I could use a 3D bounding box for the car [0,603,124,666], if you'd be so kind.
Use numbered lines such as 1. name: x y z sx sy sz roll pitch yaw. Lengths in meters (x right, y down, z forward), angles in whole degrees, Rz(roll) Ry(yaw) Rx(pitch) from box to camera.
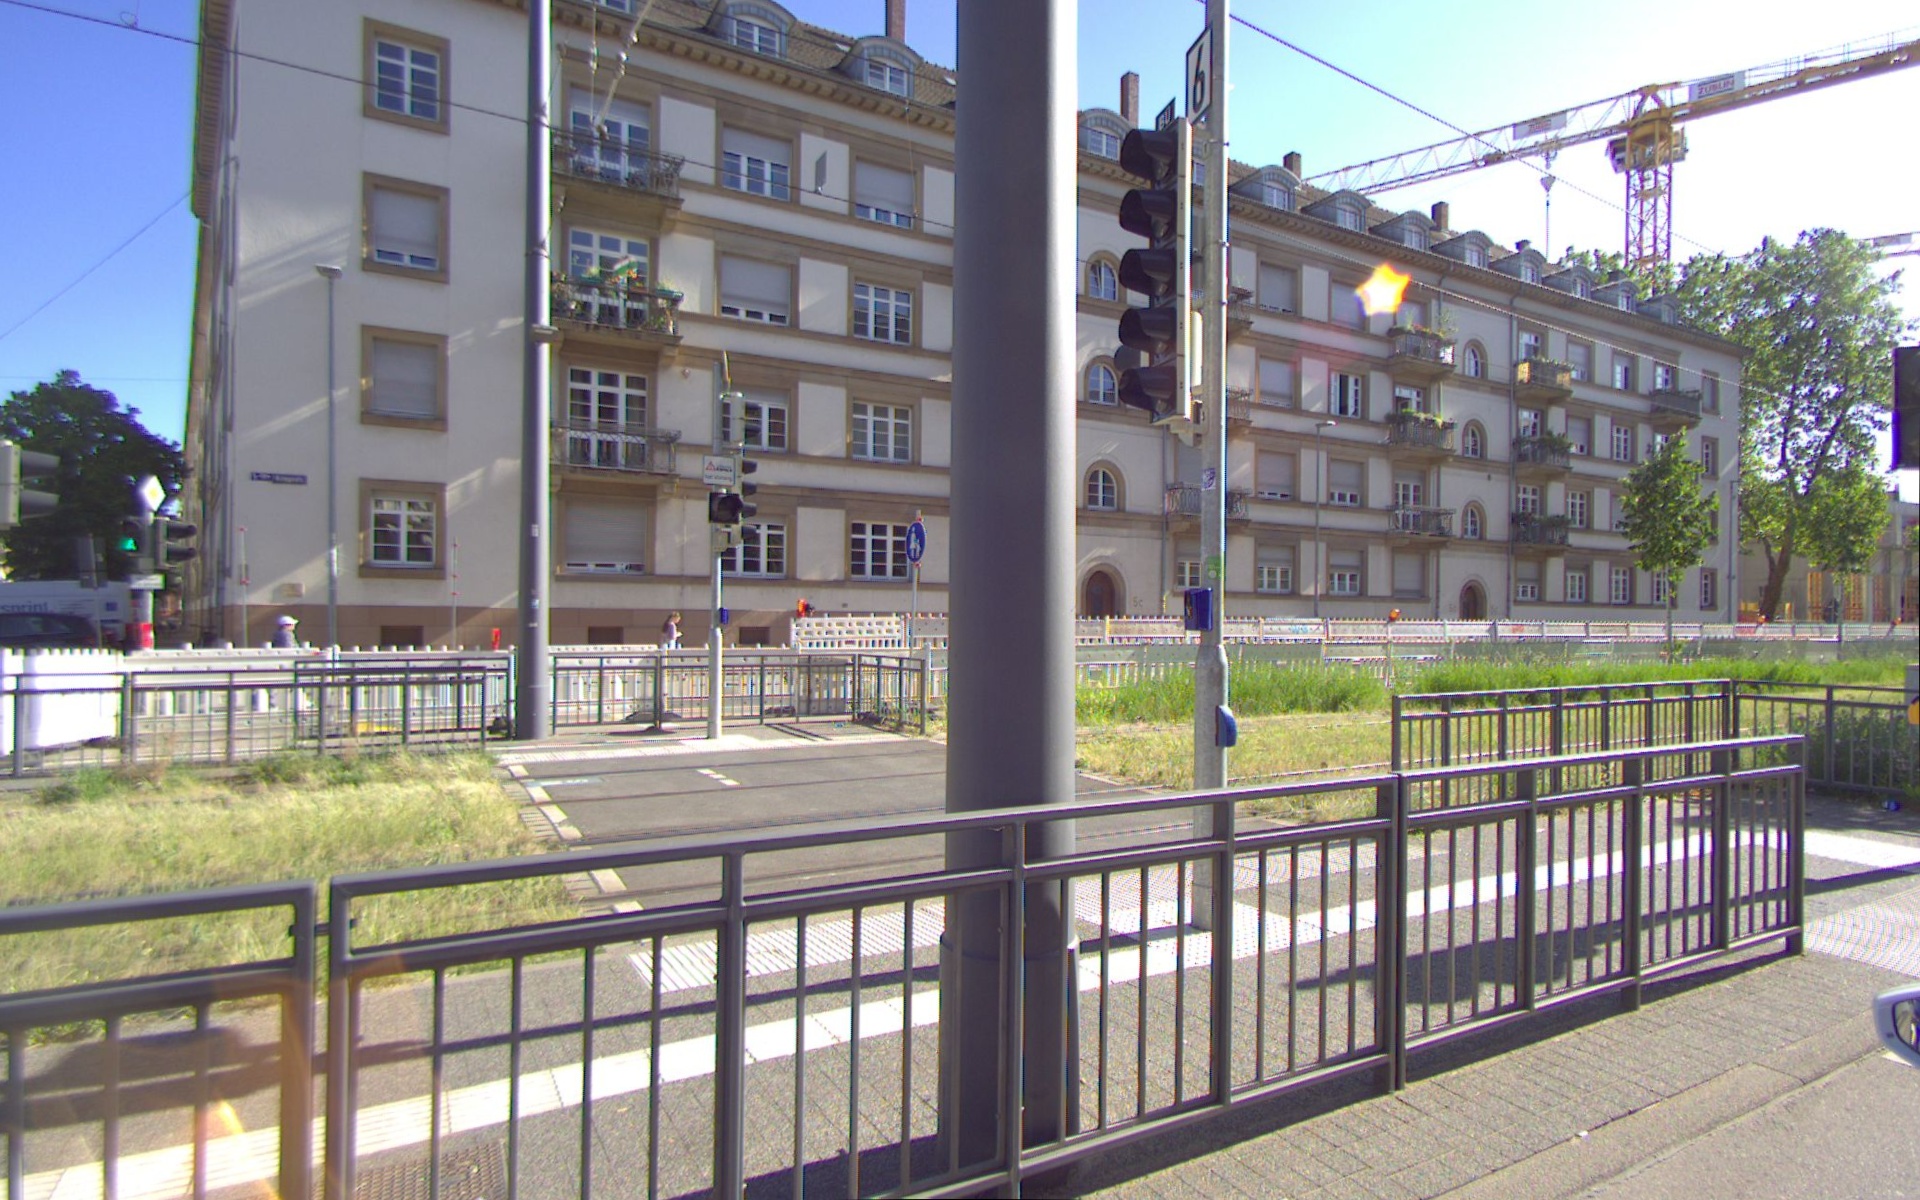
1. car: -26.295 0.962 28.408 3.965 1.662 1.849 2 0 -38

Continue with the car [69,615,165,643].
1. car: -46.138 1.580 55.078 3.967 1.449 1.758 2 0 -40

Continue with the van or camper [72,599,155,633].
1. van or camper: -59.282 1.113 70.446 4.311 2.244 1.930 2 0 -40

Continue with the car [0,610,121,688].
1. car: -21.582 1.077 22.562 3.959 1.662 1.851 2 0 -34

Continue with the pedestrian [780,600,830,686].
1. pedestrian: -3.526 0.966 22.758 0.861 1.888 0.763 2 0 -30

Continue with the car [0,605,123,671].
1. car: -24.916 0.996 26.699 3.965 1.662 1.849 2 0 -38

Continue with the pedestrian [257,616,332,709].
1. pedestrian: -11.259 1.043 17.014 0.697 1.524 0.806 0 -1 2

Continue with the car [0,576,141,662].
1. car: -28.150 0.552 29.966 5.710 2.487 1.977 2 0 -40

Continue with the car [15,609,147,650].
1. car: -36.284 1.228 41.601 3.965 1.576 1.848 2 0 -39

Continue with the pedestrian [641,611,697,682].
1. pedestrian: -6.508 1.038 22.476 1.009 1.538 0.783 2 0 -30
